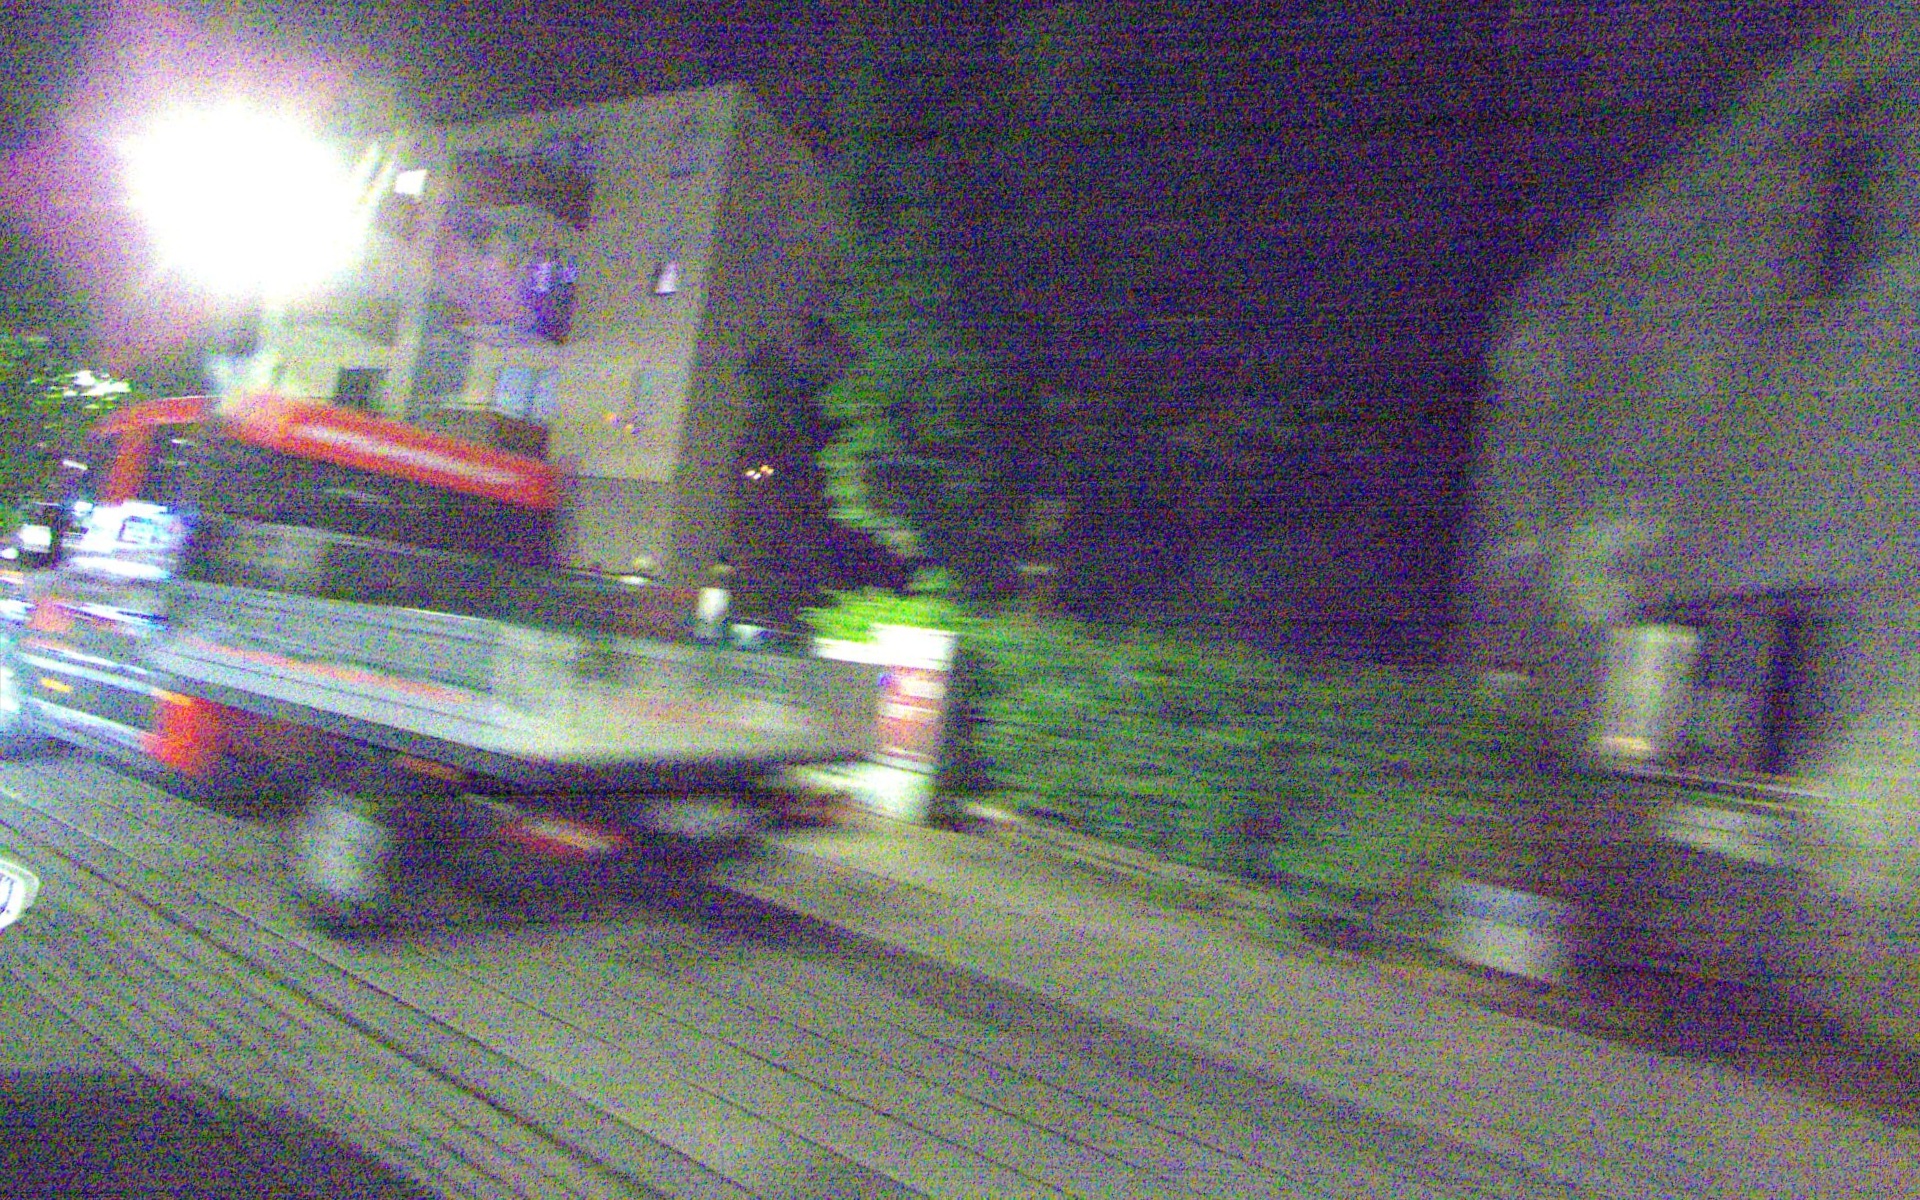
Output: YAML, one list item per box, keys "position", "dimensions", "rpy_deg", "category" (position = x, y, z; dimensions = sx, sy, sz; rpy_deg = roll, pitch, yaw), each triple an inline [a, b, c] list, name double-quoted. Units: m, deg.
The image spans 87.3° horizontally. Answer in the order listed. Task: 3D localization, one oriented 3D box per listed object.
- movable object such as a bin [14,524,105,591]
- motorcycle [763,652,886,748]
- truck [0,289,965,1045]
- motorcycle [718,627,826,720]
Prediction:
- position: [-22.813, -1.074, 25.495]
  dimensions: [1.098, 1.435, 1.265]
  rpy_deg: [6, -3, 27]
  category: "movable object such as a bin"
- position: [-1.875, 1.444, 14.255]
  dimensions: [0.551, 1.198, 2.025]
  rpy_deg: [7, -4, 26]
  category: "motorcycle"
- position: [-3.124, 0.070, 5.593]
  dimensions: [5.685, 2.337, 2.342]
  rpy_deg: [6, -3, 32]
  category: "truck"
- position: [-2.729, 1.105, 14.787]
  dimensions: [0.551, 1.198, 1.636]
  rpy_deg: [7, -4, 26]
  category: "motorcycle"
